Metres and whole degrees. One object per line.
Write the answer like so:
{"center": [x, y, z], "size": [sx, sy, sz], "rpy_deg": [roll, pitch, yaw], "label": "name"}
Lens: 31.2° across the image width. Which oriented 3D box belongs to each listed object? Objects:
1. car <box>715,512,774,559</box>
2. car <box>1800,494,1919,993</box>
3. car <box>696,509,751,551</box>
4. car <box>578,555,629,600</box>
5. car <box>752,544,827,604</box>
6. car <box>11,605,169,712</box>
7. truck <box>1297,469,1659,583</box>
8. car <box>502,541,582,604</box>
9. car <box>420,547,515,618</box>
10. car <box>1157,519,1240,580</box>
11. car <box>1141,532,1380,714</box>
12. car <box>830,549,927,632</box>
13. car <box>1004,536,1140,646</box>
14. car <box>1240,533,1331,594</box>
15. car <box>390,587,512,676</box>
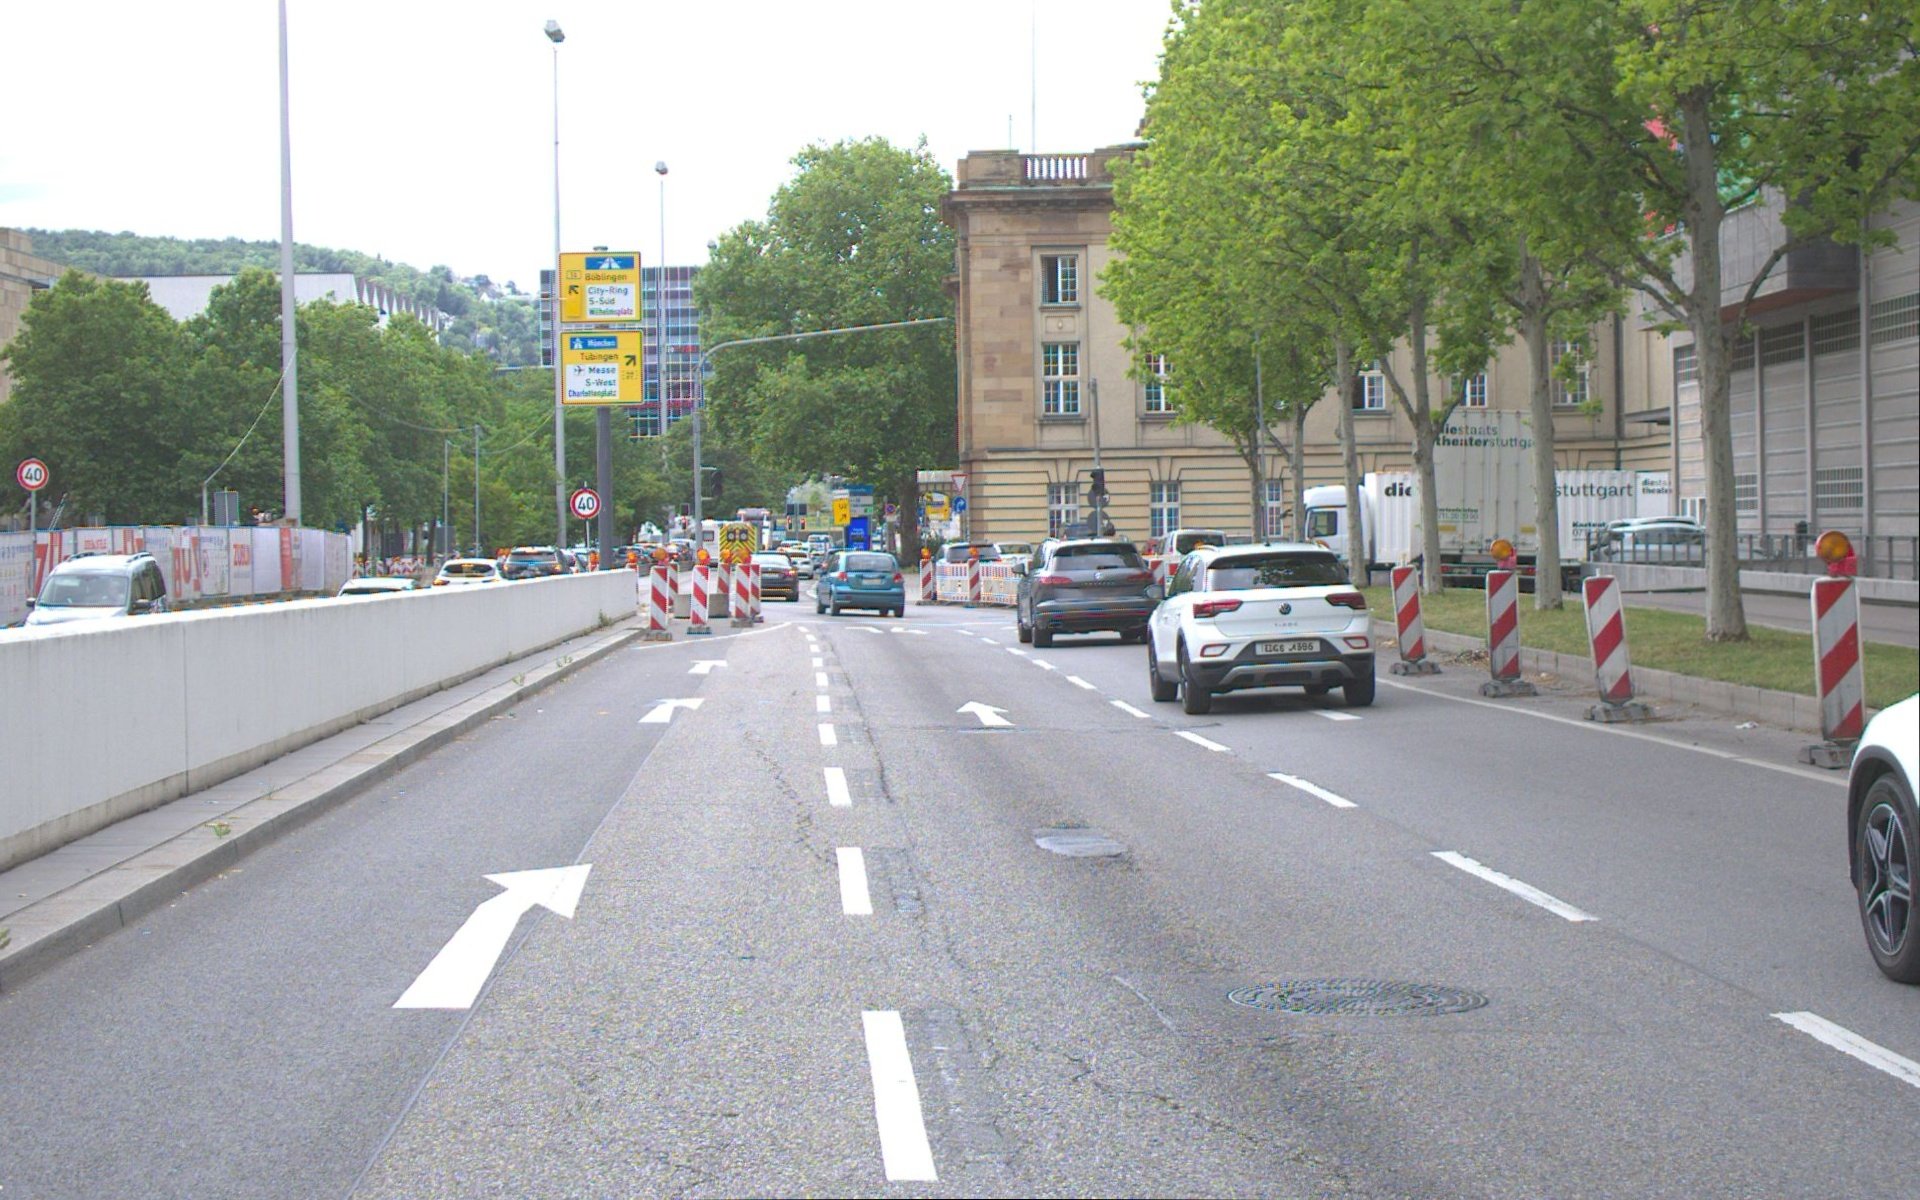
{"center": [-11.500, -3.461, 183.744], "size": [2.582, 2.366, 5.526], "rpy_deg": [-1, 1, 2], "label": "car"}
{"center": [4.101, 0.472, 10.244], "size": [1.811, 1.637, 4.553], "rpy_deg": [-2, 2, -3], "label": "car"}
{"center": [-13.934, -4.148, 202.585], "size": [2.582, 2.366, 5.526], "rpy_deg": [-1, 1, 2], "label": "car"}
{"center": [-12.856, -0.816, 124.229], "size": [1.750, 1.562, 4.332], "rpy_deg": [-1, 1, -5], "label": "car"}
{"center": [-5.127, -0.794, 103.822], "size": [1.823, 1.734, 4.479], "rpy_deg": [1, 1, 2], "label": "car"}
{"center": [-14.486, 0.953, 57.387], "size": [1.750, 1.562, 3.377], "rpy_deg": [-3, 1, -1], "label": "car"}
{"center": [14.928, -2.123, 99.493], "size": [10.029, 3.040, 2.569], "rpy_deg": [-1, 0, -1], "label": "truck"}
{"center": [-11.331, -0.765, 93.376], "size": [1.750, 1.562, 3.377], "rpy_deg": [-3, 1, -1], "label": "car"}
{"center": [-11.167, -0.412, 78.126], "size": [1.750, 1.562, 3.377], "rpy_deg": [0, 1, -1], "label": "car"}
{"center": [6.333, -1.332, 91.714], "size": [1.750, 1.562, 4.332], "rpy_deg": [-1, 0, -2], "label": "car"}
{"center": [2.840, 0.191, 33.336], "size": [1.750, 1.562, 4.332], "rpy_deg": [-3, 1, -2], "label": "car"}
{"center": [-1.809, -0.249, 77.877], "size": [1.823, 1.734, 4.480], "rpy_deg": [-1, 1, 3], "label": "car"}
{"center": [1.716, -0.156, 54.014], "size": [1.823, 1.562, 4.480], "rpy_deg": [-3, 1, -1], "label": "car"}
{"center": [8.609, -0.963, 91.245], "size": [1.856, 1.562, 4.332], "rpy_deg": [-1, 0, -2], "label": "car"}
{"center": [-9.614, 0.570, 65.208], "size": [1.750, 1.562, 4.332], "rpy_deg": [-1, 1, -1], "label": "car"}
